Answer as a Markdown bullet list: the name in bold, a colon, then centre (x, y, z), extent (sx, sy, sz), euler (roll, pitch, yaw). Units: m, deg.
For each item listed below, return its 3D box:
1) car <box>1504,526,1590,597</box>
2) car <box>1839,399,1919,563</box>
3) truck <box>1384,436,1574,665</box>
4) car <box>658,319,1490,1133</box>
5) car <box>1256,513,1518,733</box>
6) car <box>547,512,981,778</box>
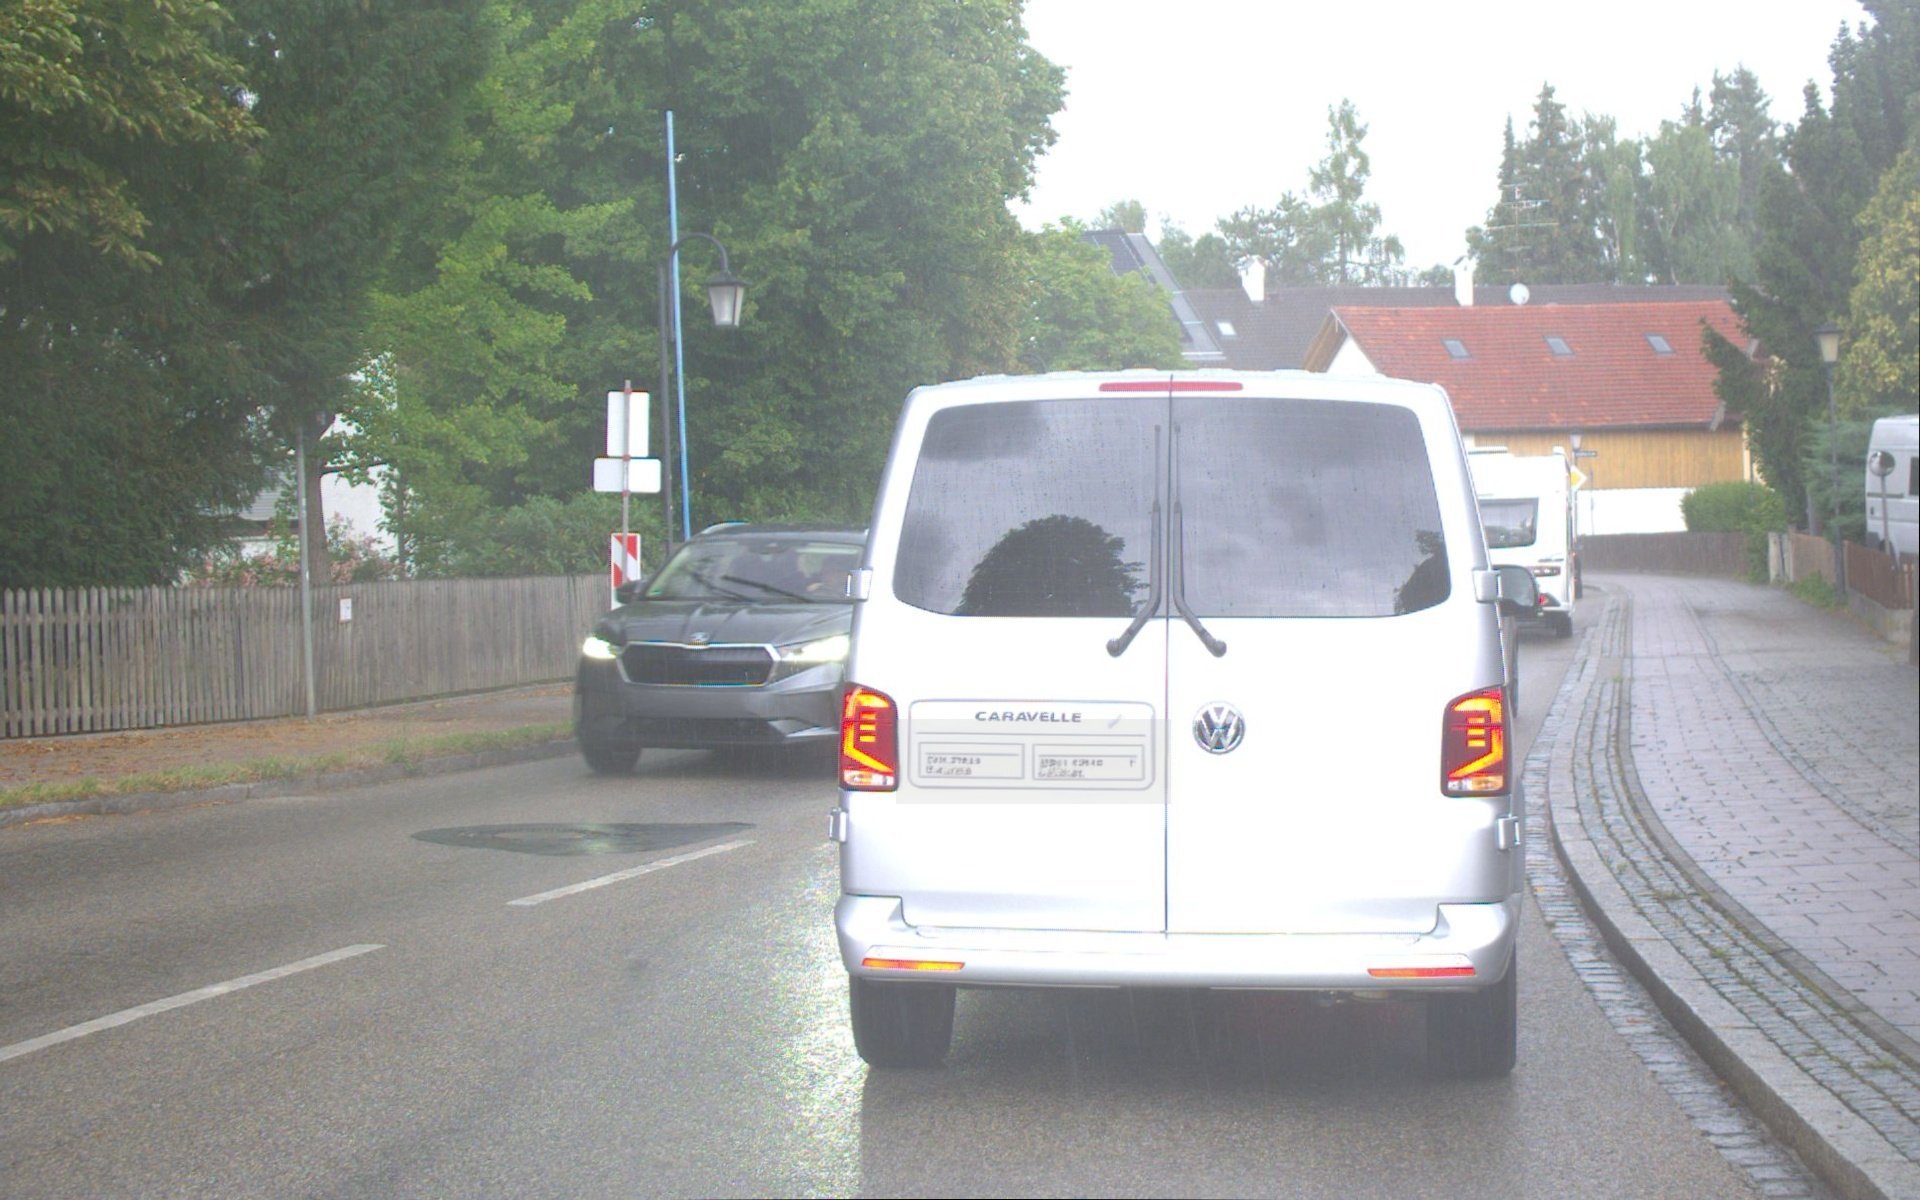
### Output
- **car**: centre (12.943, -0.836, 75.633), extent (1.801, 1.503, 3.998), euler (1, 0, 10)
- **car**: centre (13.755, -1.599, 47.011), extent (1.993, 2.166, 4.953), euler (1, 0, -3)
- **truck**: centre (7.538, -0.699, 49.435), extent (2.476, 3.063, 6.293), euler (1, 0, 10)
- **car**: centre (0.561, 0.287, 10.626), extent (1.802, 2.007, 3.998), euler (1, 0, 13)
- **car**: centre (3.431, 0.150, 27.075), extent (1.801, 1.583, 3.998), euler (1, 0, 10)
- **car**: centre (-1.190, 0.228, 22.950), extent (1.994, 1.589, 4.190), euler (1, 1, 10)
